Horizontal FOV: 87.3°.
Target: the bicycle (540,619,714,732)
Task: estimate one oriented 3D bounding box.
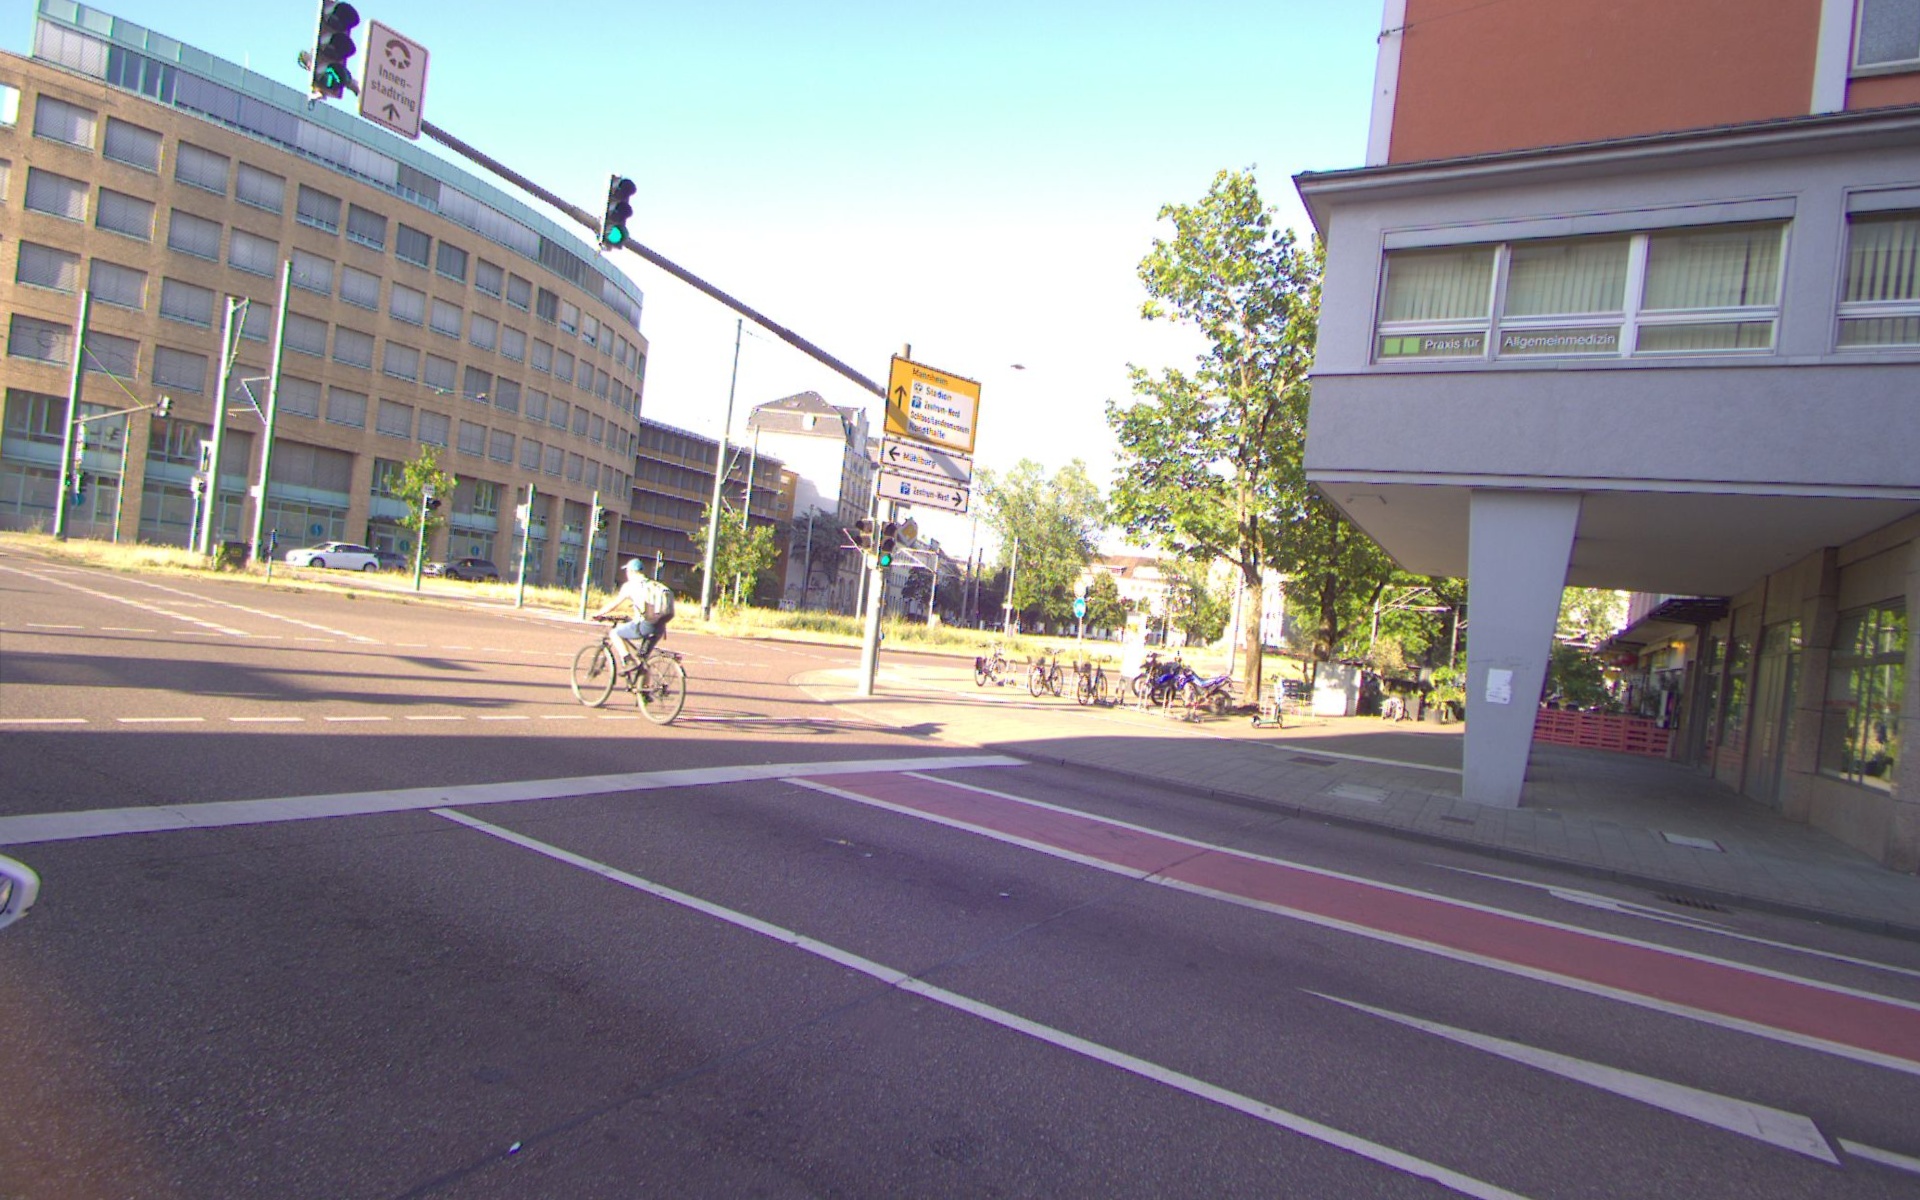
[{"bbox_3d":[-3.665,0.810,10.994,1.945,0.954,0.593,7,-2,32],"label":"bicycle"}]

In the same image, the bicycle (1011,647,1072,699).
[{"bbox_3d":[1.985,1.729,24.243,0.584,1.129,2.003,7,1,29],"label":"bicycle"}]

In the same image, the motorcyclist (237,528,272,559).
[{"bbox_3d":[-36.288,-2.904,51.741,1.014,1.453,1.067,6,0,30],"label":"motorcyclist"}]

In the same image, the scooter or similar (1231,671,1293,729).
[{"bbox_3d":[6.955,2.317,23.151,1.549,1.251,0.479,6,1,-40],"label":"scooter or similar"}]

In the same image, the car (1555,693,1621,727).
[{"bbox_3d":[36.368,6.375,58.216,3.843,1.575,1.944,8,-1,-38],"label":"car"}]

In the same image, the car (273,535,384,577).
[{"bbox_3d":[-31.459,-2.167,50.252,1.961,1.509,4.171,6,-1,29],"label":"car"}]

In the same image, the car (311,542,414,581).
[{"bbox_3d":[-33.495,-2.151,56.472,1.953,1.555,4.488,6,-1,32],"label":"car"}]

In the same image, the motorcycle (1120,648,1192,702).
[{"bbox_3d":[5.544,2.131,28.415,2.044,1.324,0.879,7,-1,-44],"label":"motorcycle"}]

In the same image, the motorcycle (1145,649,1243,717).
[{"bbox_3d":[5.957,2.111,25.615,2.224,1.409,0.844,7,-1,19],"label":"motorcycle"}]

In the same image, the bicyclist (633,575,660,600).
[{"bbox_3d":[-22.405,-0.907,71.883,1.134,1.591,1.225,6,0,30],"label":"bicyclist"}]

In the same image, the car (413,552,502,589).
[{"bbox_3d":[-28.021,-1.622,56.229,1.790,1.509,4.059,6,-1,30],"label":"car"}]

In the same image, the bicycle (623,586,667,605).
[{"bbox_3d":[-22.505,-0.322,71.852,1.134,1.012,2.966,6,-1,29],"label":"bicycle"}]

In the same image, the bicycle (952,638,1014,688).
[{"bbox_3d":[0.593,1.552,25.063,0.583,1.129,1.974,7,1,28],"label":"bicycle"}]

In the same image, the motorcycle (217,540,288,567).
[{"bbox_3d":[-36.353,-2.369,51.730,1.014,0.975,2.722,6,-1,30],"label":"motorcycle"}]

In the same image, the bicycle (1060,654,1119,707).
[{"bbox_3d":[3.058,1.866,23.627,0.583,1.129,2.058,7,1,28],"label":"bicycle"}]

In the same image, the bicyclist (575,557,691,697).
[{"bbox_3d":[-3.569,0.292,10.976,0.914,1.385,0.593,7,-1,32],"label":"bicyclist"}]
